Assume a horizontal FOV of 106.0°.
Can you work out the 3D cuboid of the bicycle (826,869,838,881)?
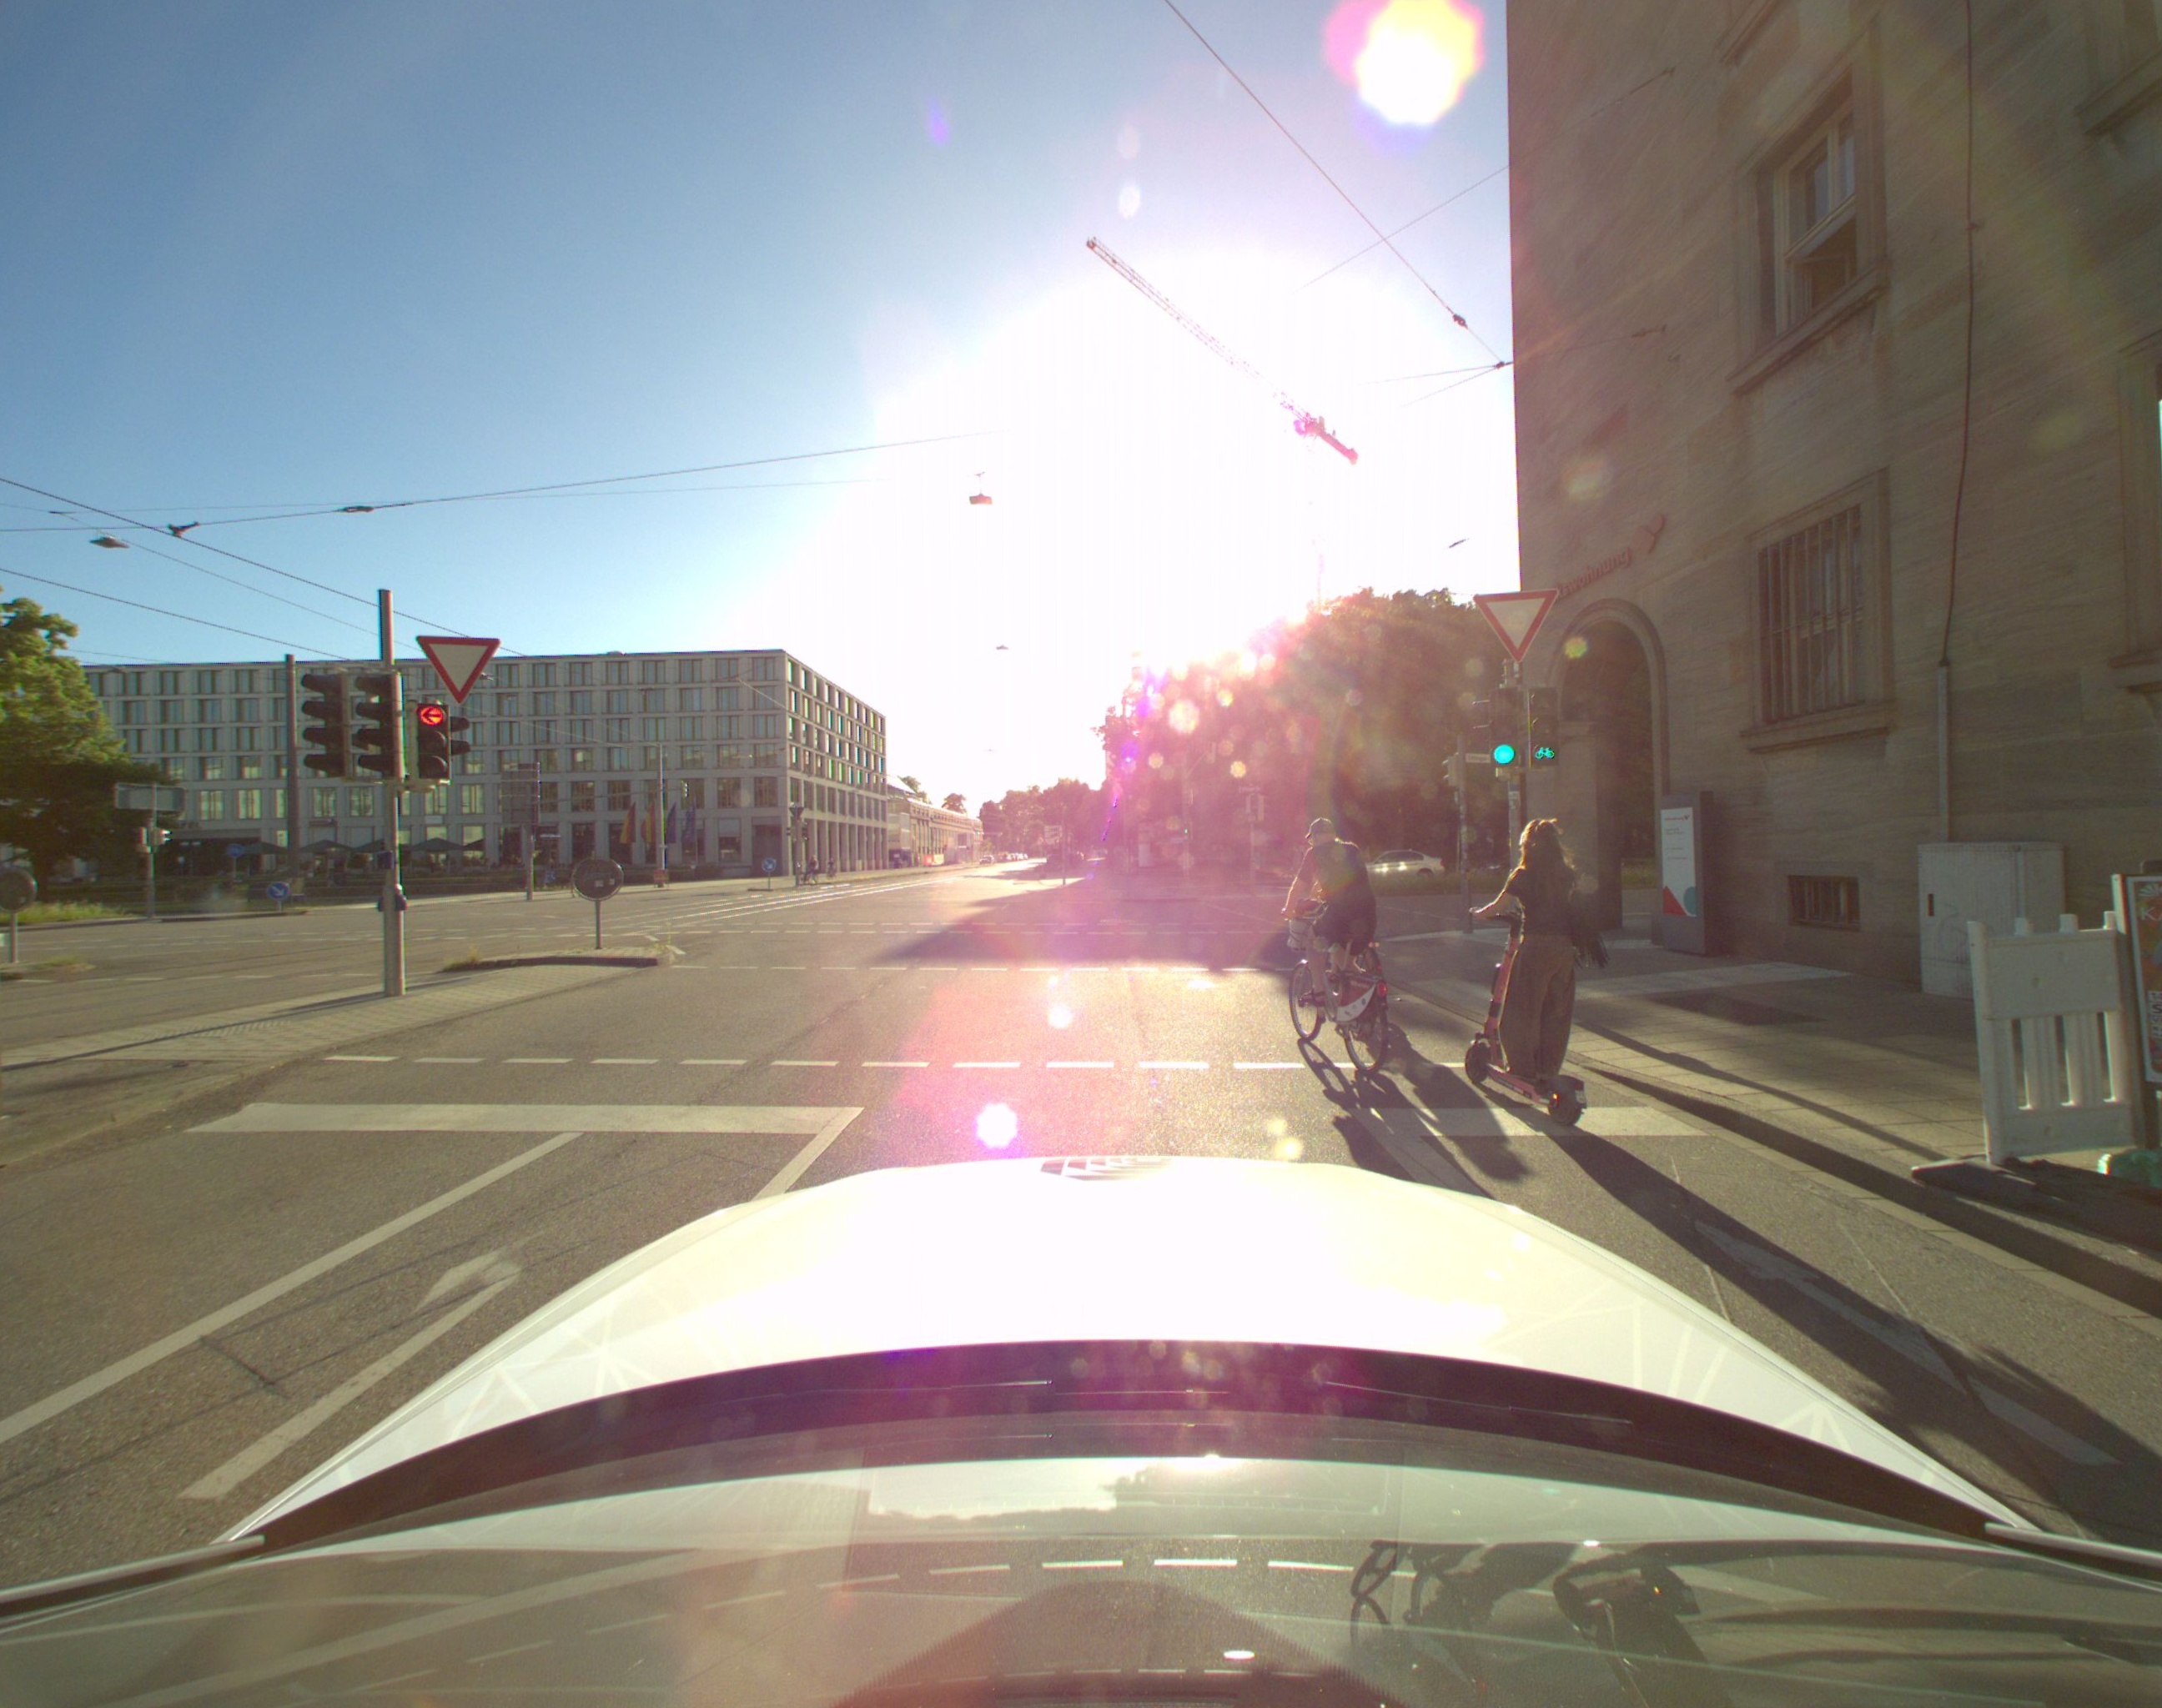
[{"bbox_3d":[-18.751,1.597,61.304,0.492,0.839,1.158,-2,0,4],"label":"bicycle"}]

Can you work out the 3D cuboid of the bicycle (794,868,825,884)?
[{"bbox_3d":[-14.744,1.217,44.198,1.696,0.823,0.577,-2,0,29],"label":"bicycle"}]

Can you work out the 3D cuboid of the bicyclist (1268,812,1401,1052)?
[{"bbox_3d":[1.943,0.562,6.359,0.623,1.715,0.910,-2,0,-8],"label":"bicyclist"}]

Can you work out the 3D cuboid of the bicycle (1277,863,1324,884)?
[{"bbox_3d":[9.736,0.864,36.128,1.932,0.889,0.719,-1,-1,8],"label":"bicycle"}]

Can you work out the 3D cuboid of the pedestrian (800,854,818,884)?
[{"bbox_3d":[-14.773,0.827,44.210,0.735,1.595,0.577,-2,0,29],"label":"pedestrian"}]

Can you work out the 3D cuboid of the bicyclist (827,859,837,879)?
[{"bbox_3d":[-18.760,1.146,61.329,0.492,1.498,0.667,-2,0,4],"label":"bicyclist"}]

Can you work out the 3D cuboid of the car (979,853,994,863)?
[{"bbox_3d":[-15.753,0.705,136.216,1.988,1.599,3.999,-2,0,-1],"label":"car"}]

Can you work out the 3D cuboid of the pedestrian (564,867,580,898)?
[{"bbox_3d":[-28.209,1.567,45.104,0.610,1.681,0.598,-1,-1,-44],"label":"pedestrian"}]

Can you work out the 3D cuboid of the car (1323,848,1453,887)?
[{"bbox_3d":[12.458,0.537,33.257,4.559,1.516,2.001,0,-1,1],"label":"car"}]

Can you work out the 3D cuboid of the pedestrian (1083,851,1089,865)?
[{"bbox_3d":[0.585,0.476,97.520,0.576,1.689,0.584,-2,0,-6],"label":"pedestrian"}]

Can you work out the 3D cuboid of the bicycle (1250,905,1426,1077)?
[{"bbox_3d":[1.937,0.983,6.419,0.623,1.044,1.742,-2,0,-8],"label":"bicycle"}]

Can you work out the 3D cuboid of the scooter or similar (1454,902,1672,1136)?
[{"bbox_3d":[2.823,0.904,4.915,0.570,1.149,1.273,-2,-1,3],"label":"scooter or similar"}]

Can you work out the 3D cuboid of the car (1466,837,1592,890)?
[{"bbox_3d":[17.905,0.386,32.698,3.970,2.014,2.002,0,-1,3],"label":"car"}]

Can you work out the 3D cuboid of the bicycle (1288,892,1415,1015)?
[{"bbox_3d":[2.738,0.965,8.448,0.581,1.044,1.744,-2,0,-5],"label":"bicycle"}]

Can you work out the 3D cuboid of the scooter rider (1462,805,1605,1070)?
[{"bbox_3d":[2.815,0.495,5.113,0.543,1.562,0.577,-1,-1,0],"label":"scooter rider"}]

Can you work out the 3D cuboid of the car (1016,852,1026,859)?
[{"bbox_3d":[-14.364,0.275,195.182,1.988,1.644,3.998,-2,0,-1],"label":"car"}]

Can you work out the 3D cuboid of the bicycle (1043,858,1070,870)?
[{"bbox_3d":[-2.035,0.835,67.278,2.240,0.940,0.653,-2,0,-4],"label":"bicycle"}]

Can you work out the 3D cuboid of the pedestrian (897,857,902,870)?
[{"bbox_3d":[-26.520,1.343,118.913,0.585,1.889,0.478,0,-1,1],"label":"pedestrian"}]

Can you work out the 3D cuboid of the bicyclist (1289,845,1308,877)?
[{"bbox_3d":[9.643,0.301,36.141,0.742,1.406,0.704,0,-1,8],"label":"bicyclist"}]

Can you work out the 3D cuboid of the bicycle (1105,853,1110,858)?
[{"bbox_3d":[6.522,0.296,200.238,0.890,1.219,2.784,0,-1,-9],"label":"bicycle"}]

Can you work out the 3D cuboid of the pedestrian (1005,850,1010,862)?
[{"bbox_3d":[-12.714,0.265,140.552,0.746,2.063,1.052,0,-1,7],"label":"pedestrian"}]

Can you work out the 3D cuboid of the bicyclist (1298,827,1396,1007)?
[{"bbox_3d":[2.730,0.610,8.438,0.583,1.738,0.948,-2,0,-6],"label":"bicyclist"}]

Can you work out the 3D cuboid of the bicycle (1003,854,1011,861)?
[{"bbox_3d":[-12.714,0.671,140.481,0.746,1.205,3.114,0,-1,7],"label":"bicycle"}]

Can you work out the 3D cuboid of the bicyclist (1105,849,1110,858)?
[{"bbox_3d":[6.511,-0.120,200.353,0.891,2.014,0.746,0,-1,-10],"label":"bicyclist"}]
